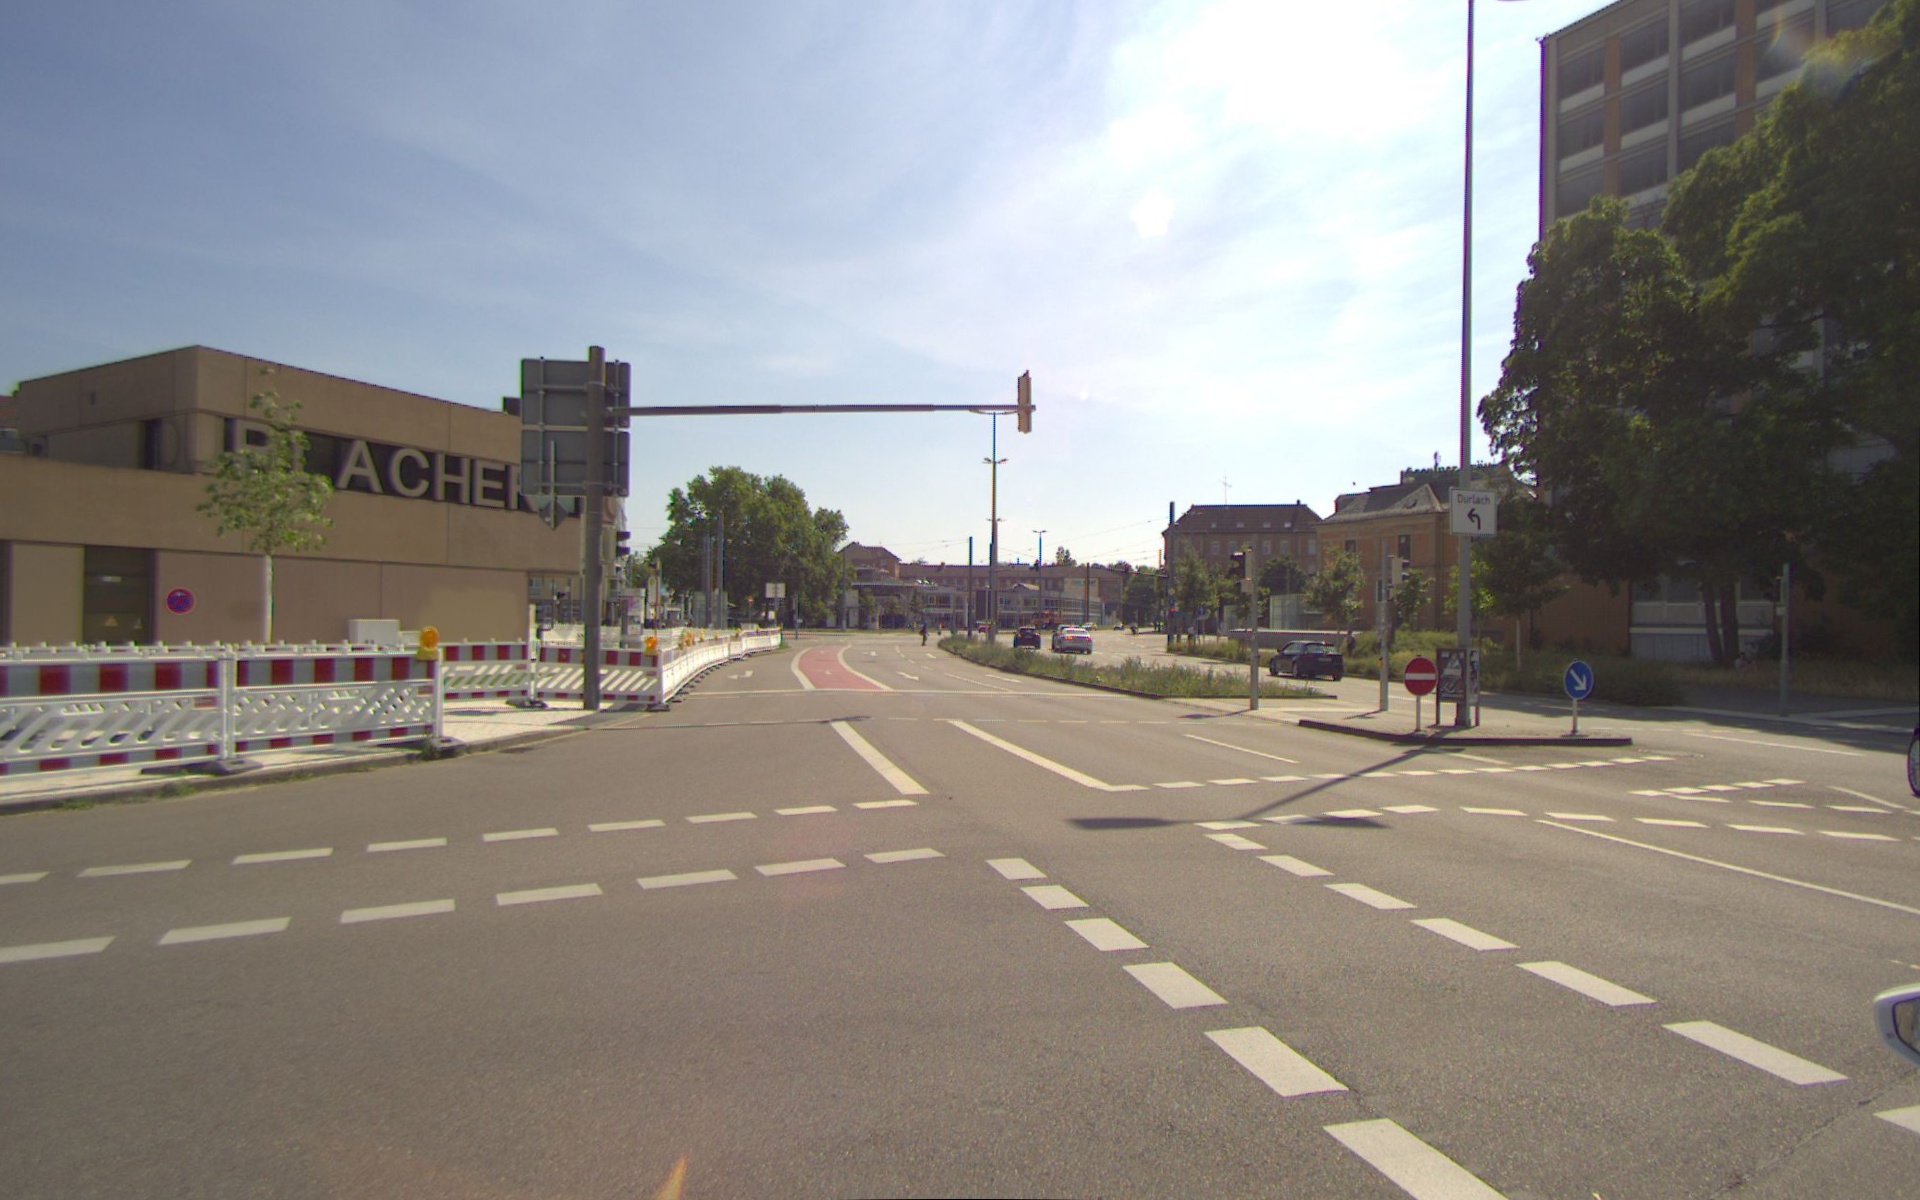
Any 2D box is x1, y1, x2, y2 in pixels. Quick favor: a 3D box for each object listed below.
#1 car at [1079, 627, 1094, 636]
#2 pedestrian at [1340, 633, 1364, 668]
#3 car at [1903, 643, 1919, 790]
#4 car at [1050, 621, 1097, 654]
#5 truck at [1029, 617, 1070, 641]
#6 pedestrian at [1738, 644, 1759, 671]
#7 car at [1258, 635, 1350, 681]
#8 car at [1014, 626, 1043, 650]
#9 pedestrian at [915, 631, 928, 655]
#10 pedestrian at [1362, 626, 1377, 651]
[{"bbox_3d":[23.086,5.684,182.591,1.765,1.530,4.000,1,-1,21],"label":"car"},{"bbox_3d":[19.579,2.515,50.201,0.857,1.748,0.799,1,-1,-5],"label":"pedestrian"},{"bbox_3d":[10.004,1.186,8.803,1.834,1.550,4.699,3,-1,35],"label":"car"},{"bbox_3d":[6.725,2.198,59.963,1.962,1.840,3.997,1,-1,-6],"label":"car"},{"bbox_3d":[14.995,4.844,167.335,3.025,3.779,7.900,0,-2,37],"label":"truck"},{"bbox_3d":[26.780,1.943,34.113,0.387,0.903,0.427,1,-1,-19],"label":"pedestrian"},{"bbox_3d":[12.950,2.164,38.098,1.766,1.530,3.997,2,-2,-6],"label":"car"},{"bbox_3d":[4.567,2.553,67.498,1.764,1.530,4.002,1,-1,2],"label":"car"},{"bbox_3d":[-2.723,3.020,71.374,0.645,1.683,0.655,2,-1,-41],"label":"pedestrian"},{"bbox_3d":[27.730,2.632,68.040,0.640,1.683,0.647,2,-1,-20],"label":"pedestrian"}]
